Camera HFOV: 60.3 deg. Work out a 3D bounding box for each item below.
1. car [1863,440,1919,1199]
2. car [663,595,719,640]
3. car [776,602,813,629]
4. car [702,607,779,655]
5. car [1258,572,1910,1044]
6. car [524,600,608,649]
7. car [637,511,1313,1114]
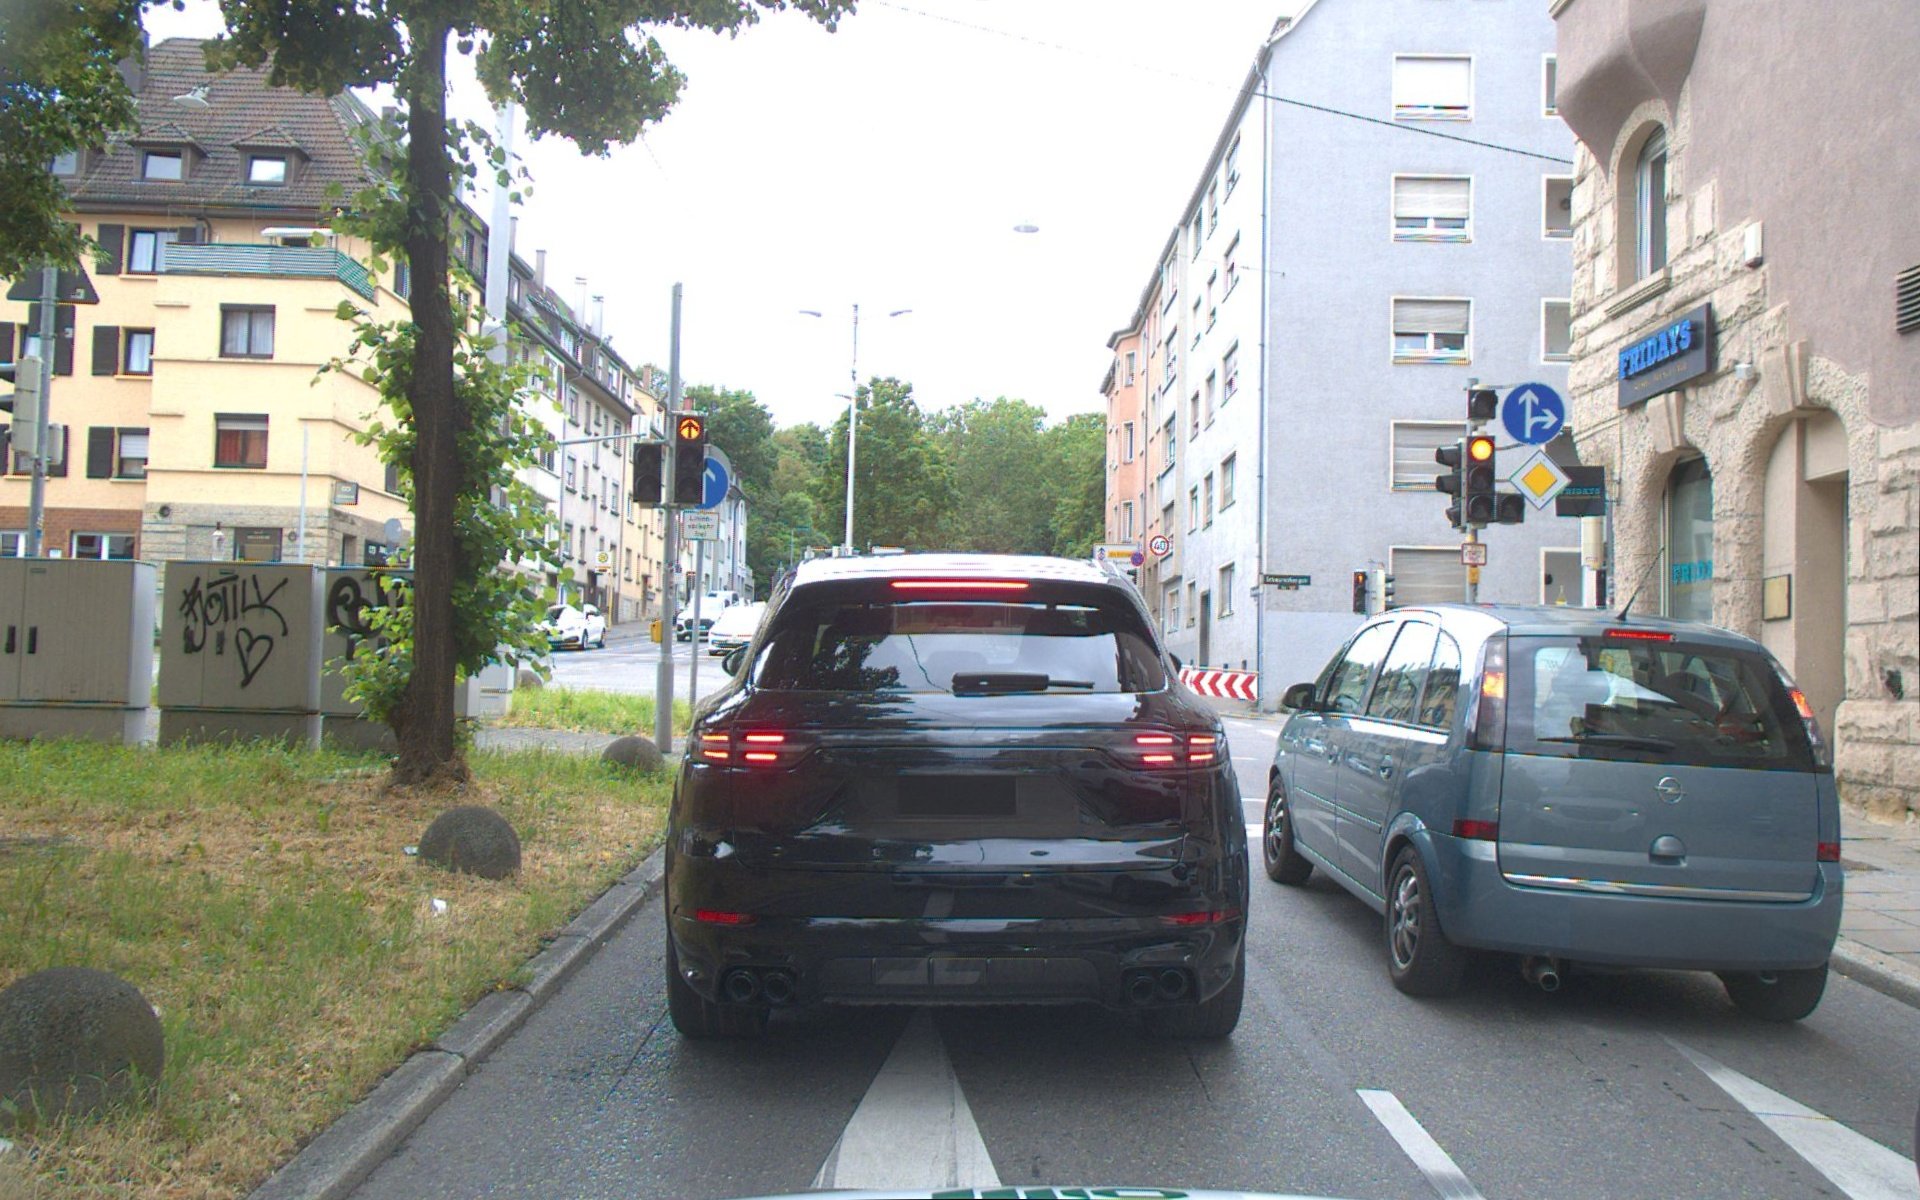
[{"bbox_3d":[2.927,0.645,1.064,1.936,1.806,4.674,4,0,-2],"label":"car"},{"bbox_3d":[-10.333,0.668,63.808,1.936,1.638,4.551,1,0,-7],"label":"car"},{"bbox_3d":[-9.692,0.944,97.215,1.585,1.506,3.824,1,-1,3],"label":"car"},{"bbox_3d":[-6.708,0.926,50.951,1.824,1.412,4.094,1,0,0],"label":"car"},{"bbox_3d":[2.625,0.771,7.899,1.596,1.625,3.668,4,0,-1],"label":"car"},{"bbox_3d":[-12.759,0.778,53.791,1.806,1.512,3.897,1,0,0],"label":"car"},{"bbox_3d":[0.019,0.613,6.702,1.916,1.704,3.999,0,0,-1],"label":"car"}]
